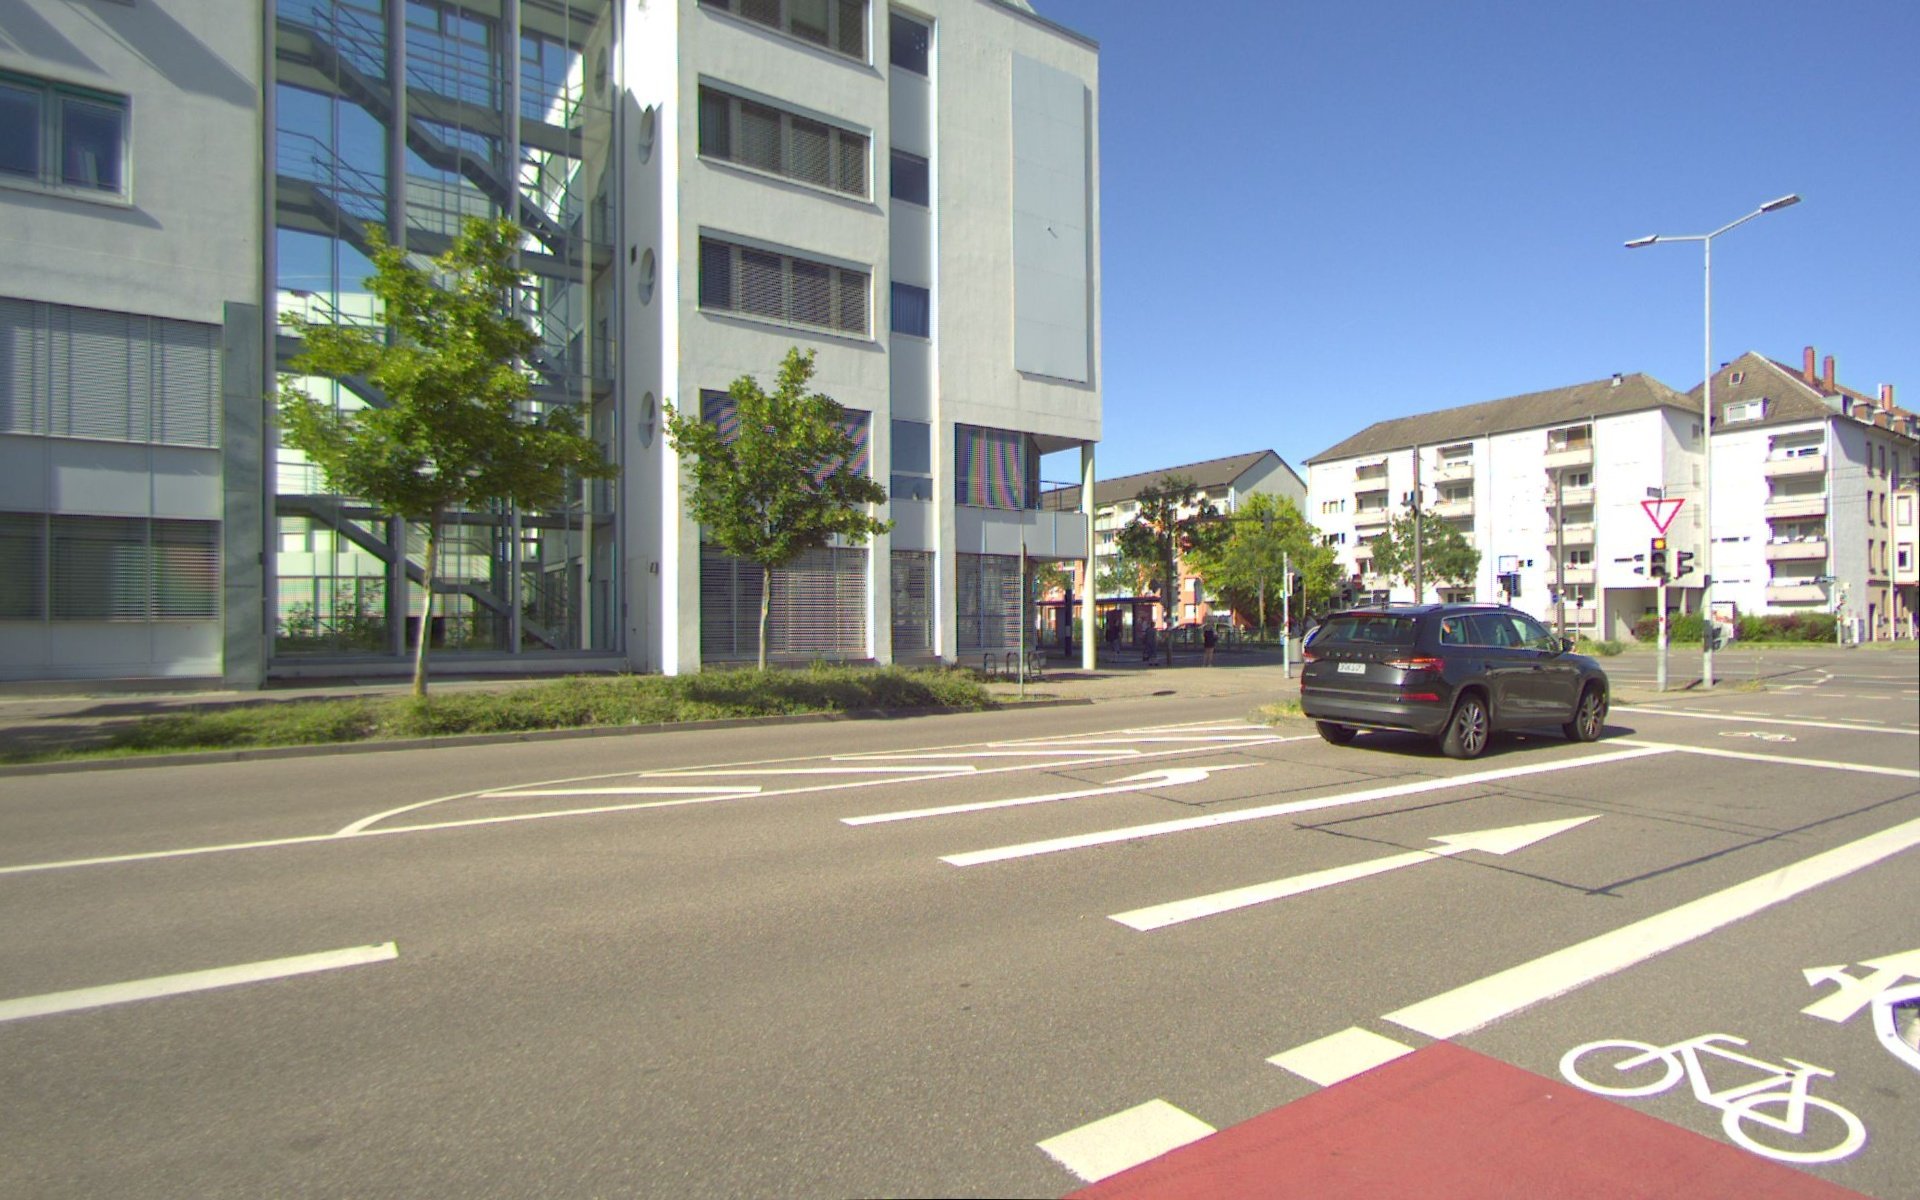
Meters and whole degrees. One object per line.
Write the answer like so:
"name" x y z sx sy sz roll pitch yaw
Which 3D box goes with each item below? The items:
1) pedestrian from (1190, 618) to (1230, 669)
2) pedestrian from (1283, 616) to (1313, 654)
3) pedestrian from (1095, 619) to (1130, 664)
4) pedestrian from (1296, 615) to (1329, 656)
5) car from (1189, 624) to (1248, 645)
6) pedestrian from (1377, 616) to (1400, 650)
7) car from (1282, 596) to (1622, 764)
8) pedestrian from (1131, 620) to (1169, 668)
"pedestrian" 8.694 1.512 34.910 1.144 1.749 0.804 1 -2 -39
"pedestrian" 15.593 1.609 46.356 1.144 1.749 0.804 1 -2 -39
"pedestrian" 5.965 1.617 39.243 1.144 1.749 0.804 1 -2 -39
"pedestrian" 15.701 1.557 44.763 1.144 1.794 0.913 1 -2 -39
"car" 20.370 2.712 79.279 4.311 1.451 1.694 1 0 5
"pedestrian" 22.304 1.724 52.339 0.797 1.749 1.155 -1 -2 8
"car" 5.983 0.837 12.021 4.434 1.650 1.742 1 0 -35
"pedestrian" 7.003 1.607 36.995 1.144 1.749 0.804 1 -2 -39
